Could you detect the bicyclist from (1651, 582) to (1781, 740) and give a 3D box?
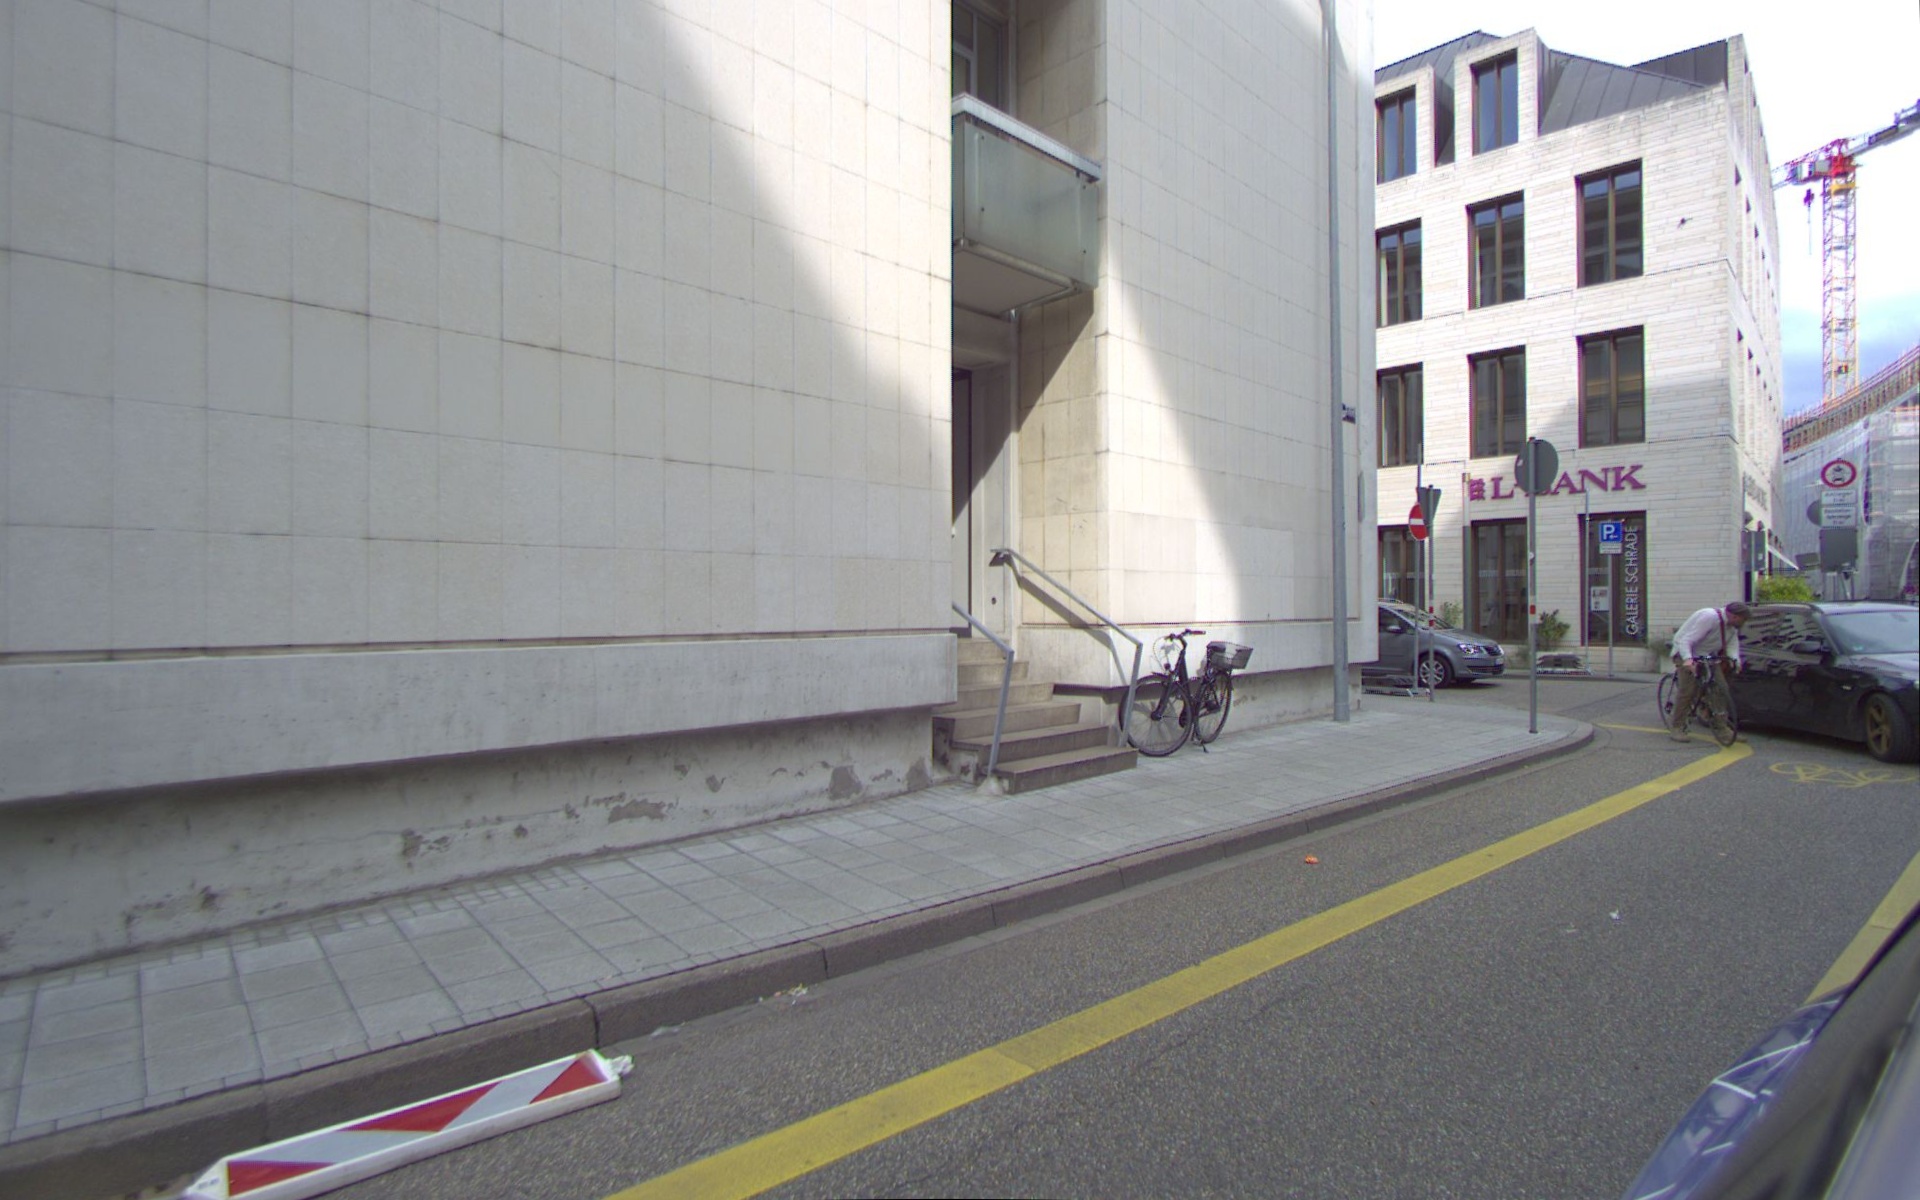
[{"bbox_3d":[8.094,0.618,10.884,0.881,1.614,0.872,0,0,19],"label":"bicyclist"}]

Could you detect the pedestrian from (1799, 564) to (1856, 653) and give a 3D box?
[{"bbox_3d":[18.643,0.174,21.766,0.767,1.854,0.853,0,0,29],"label":"pedestrian"}]

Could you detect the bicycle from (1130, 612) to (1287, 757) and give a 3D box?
[{"bbox_3d":[2.326,0.720,9.345,0.588,1.182,1.786,0,0,44],"label":"bicycle"}]

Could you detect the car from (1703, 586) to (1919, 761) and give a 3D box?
[{"bbox_3d":[9.380,0.624,10.046,1.690,1.509,3.754,-1,0,10],"label":"car"}]

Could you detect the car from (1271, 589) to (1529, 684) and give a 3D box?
[{"bbox_3d":[8.328,0.605,19.426,1.784,1.610,4.187,-1,0,-42],"label":"car"}]

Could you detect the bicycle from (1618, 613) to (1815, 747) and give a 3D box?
[{"bbox_3d":[8.190,0.786,11.153,0.860,1.209,2.847,0,0,18],"label":"bicycle"}]
